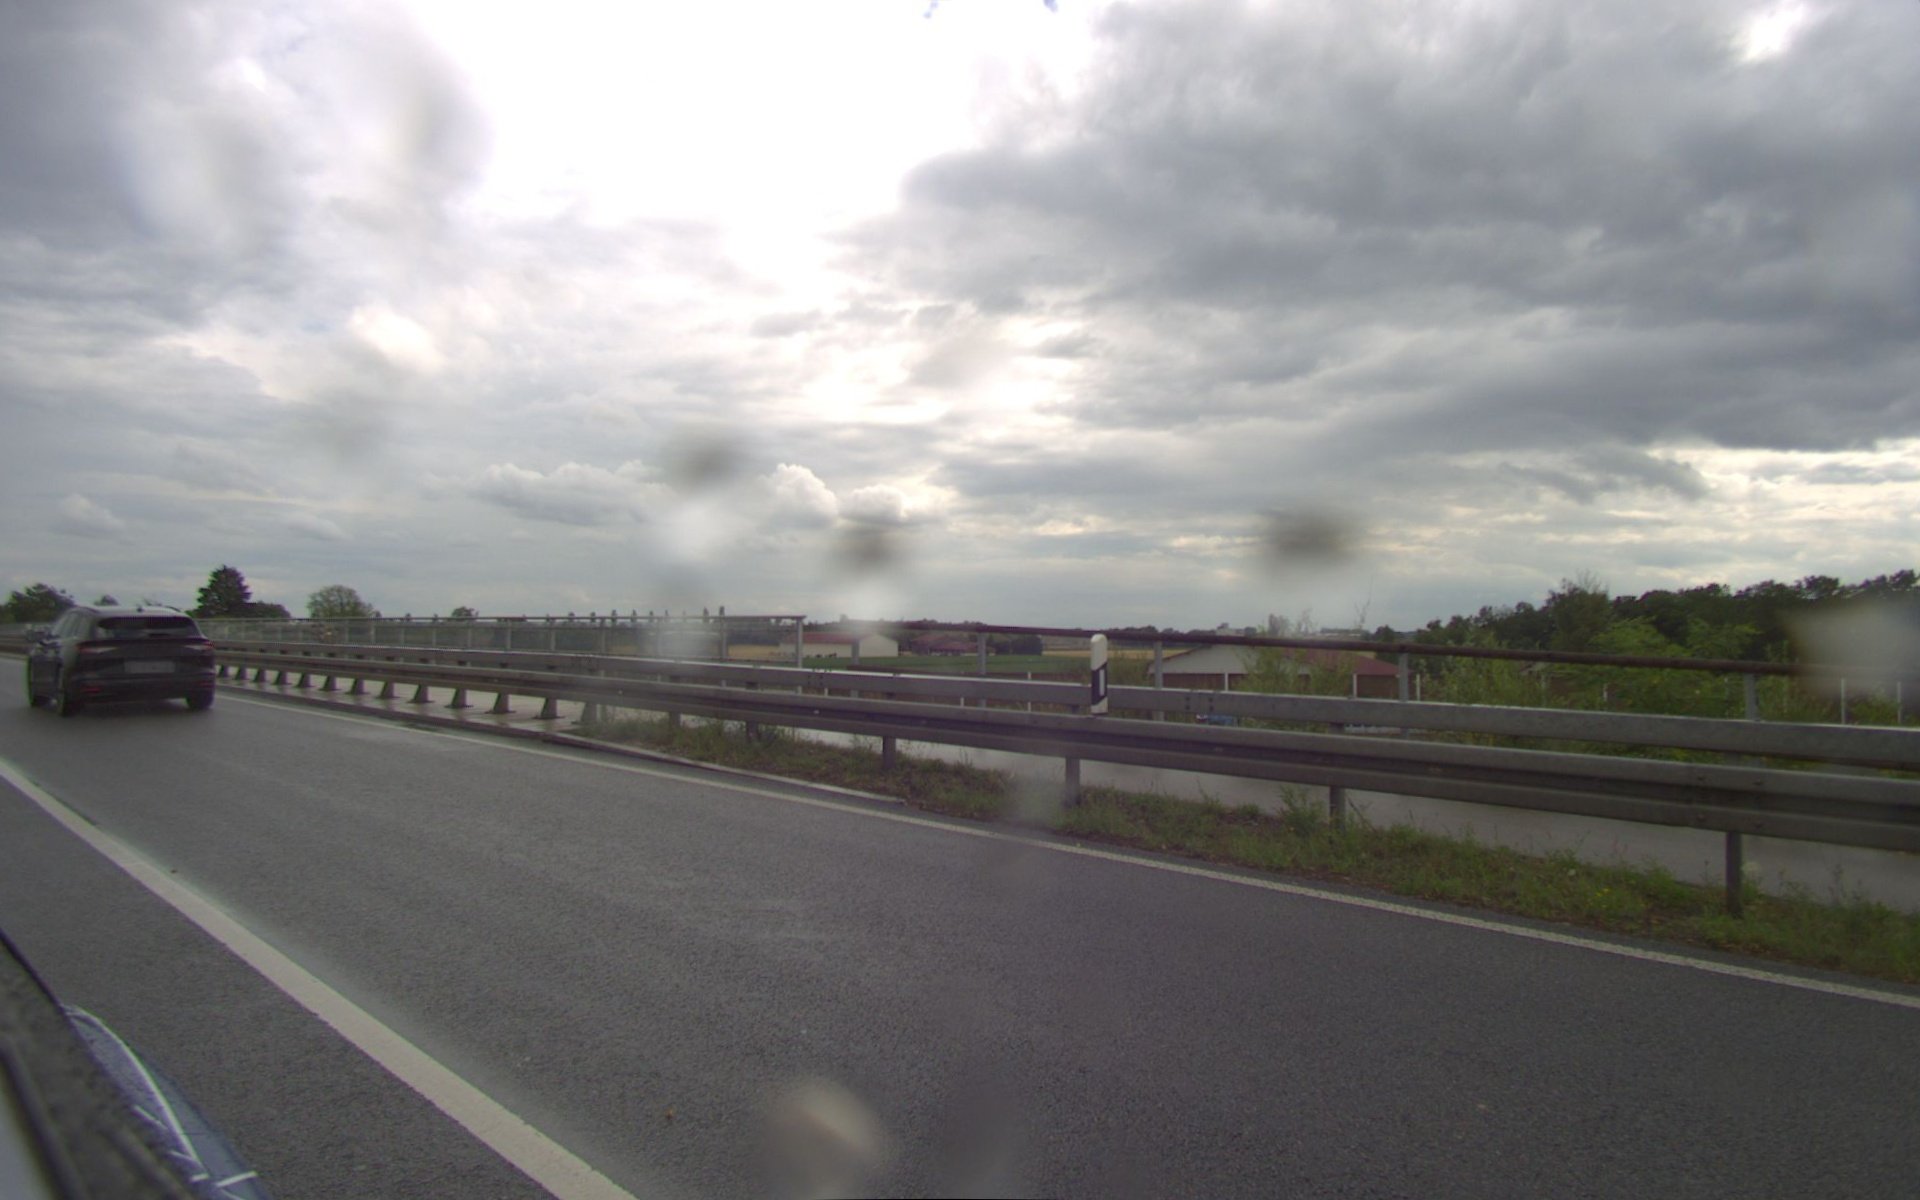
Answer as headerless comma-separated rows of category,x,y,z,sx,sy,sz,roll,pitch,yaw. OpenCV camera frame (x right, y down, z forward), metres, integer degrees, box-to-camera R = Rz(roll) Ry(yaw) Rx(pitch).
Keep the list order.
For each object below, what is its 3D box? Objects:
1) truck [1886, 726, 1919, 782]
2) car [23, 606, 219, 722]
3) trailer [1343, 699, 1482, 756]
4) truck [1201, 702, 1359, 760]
truck,76.107,11.419,76.135,11.003,3.791,2.439,-1,-1,-4
car,-13.295,0.927,15.946,4.300,1.573,1.761,-2,-1,42
trailer,33.832,9.531,75.804,9.317,3.791,2.439,-1,-1,-4
truck,23.703,9.693,75.178,11.003,3.791,2.439,-1,-1,-4
